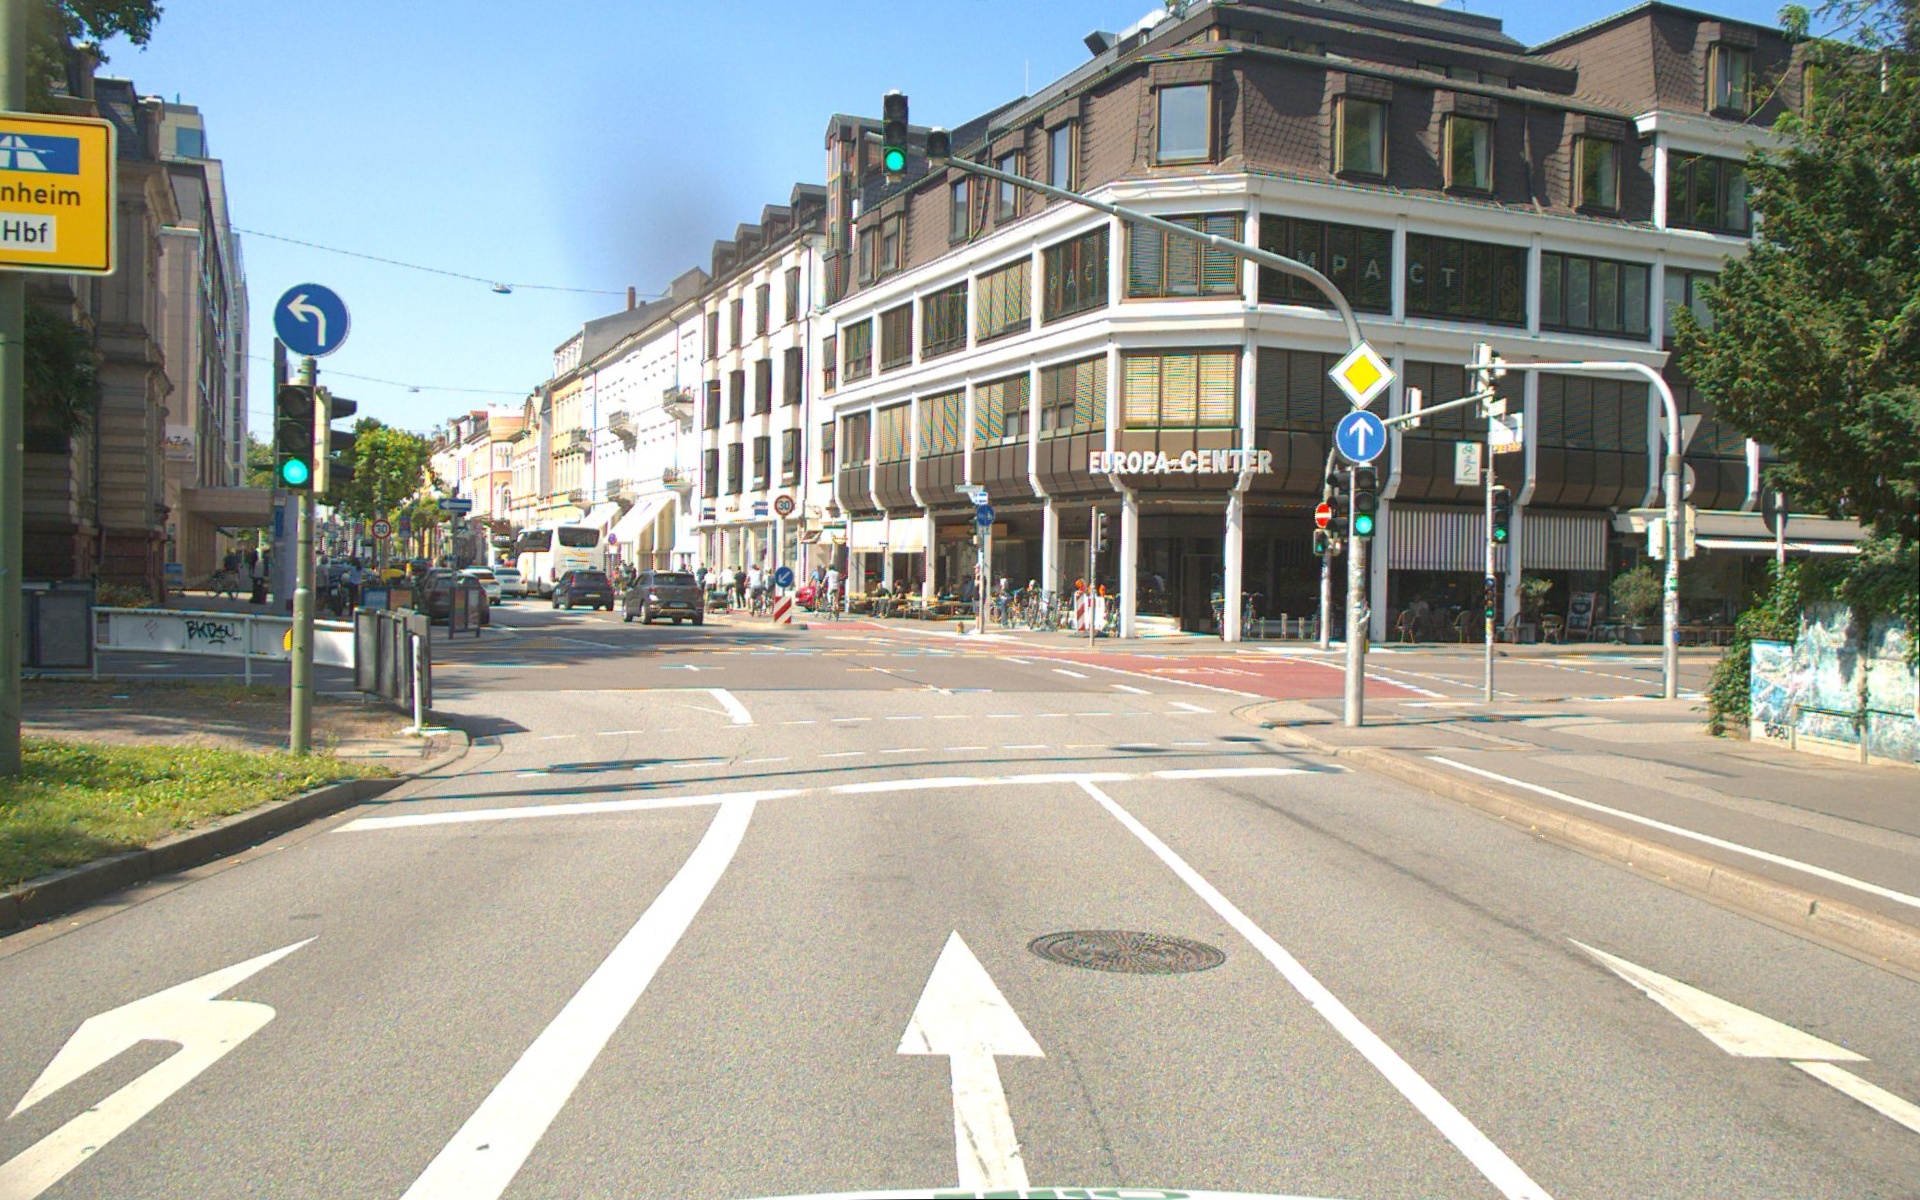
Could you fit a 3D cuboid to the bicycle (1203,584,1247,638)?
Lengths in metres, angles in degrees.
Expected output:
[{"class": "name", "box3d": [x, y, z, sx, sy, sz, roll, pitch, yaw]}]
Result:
[{"class": "bicycle", "box3d": [6.925, 0.263, 43.103, 0.519, 1.339, 1.964, 1, 2, 28]}]

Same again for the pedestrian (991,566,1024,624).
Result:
[{"class": "pedestrian", "box3d": [1.412, -0.149, 49.243, 0.819, 1.692, 0.694, 0, 0, -15]}]

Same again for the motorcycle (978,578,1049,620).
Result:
[{"class": "motorcycle", "box3d": [1.702, -0.037, 52.455, 2.188, 1.313, 0.949, 0, 0, 5]}]

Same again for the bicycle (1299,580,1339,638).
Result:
[{"class": "bicycle", "box3d": [9.496, 0.219, 43.726, 0.519, 1.447, 1.964, 1, 2, 28]}]

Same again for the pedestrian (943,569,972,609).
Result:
[{"class": "pedestrian", "box3d": [-0.099, -0.394, 58.809, 0.803, 1.421, 0.691, 1, 0, -25]}]

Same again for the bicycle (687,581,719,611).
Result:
[{"class": "bicycle", "box3d": [-10.110, -0.172, 65.052, 0.612, 1.118, 2.335, 1, 0, -24]}]

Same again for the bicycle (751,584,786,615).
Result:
[{"class": "bicycle", "box3d": [-7.186, -0.025, 62.073, 0.612, 1.118, 2.335, 1, 0, -24]}]

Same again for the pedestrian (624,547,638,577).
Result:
[{"class": "pedestrian", "box3d": [-18.577, -2.133, 93.418, 0.636, 1.645, 0.817, 0, 0, -20]}]

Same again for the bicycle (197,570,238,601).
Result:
[{"class": "bicycle", "box3d": [-26.531, -0.524, 59.081, 1.988, 1.080, 0.488, 1, 0, 39]}]

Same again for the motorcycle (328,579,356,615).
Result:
[{"class": "motorcycle", "box3d": [-18.078, -0.101, 48.397, 0.446, 1.015, 2.153, 2, 0, -13]}]

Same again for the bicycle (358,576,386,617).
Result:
[{"class": "bicycle", "box3d": [-17.203, -0.084, 48.438, 0.422, 1.140, 2.236, 2, -1, -12]}]

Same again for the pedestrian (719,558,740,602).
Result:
[{"class": "pedestrian", "box3d": [-9.231, -0.803, 66.093, 0.611, 1.750, 0.830, 2, -1, -22]}]

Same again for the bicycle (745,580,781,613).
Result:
[{"class": "bicycle", "box3d": [-7.099, -0.137, 59.565, 0.612, 1.118, 2.335, 1, 0, -24]}]

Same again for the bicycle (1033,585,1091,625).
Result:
[{"class": "bicycle", "box3d": [2.976, 0.148, 48.222, 1.689, 1.140, 0.276, -1, 1, -17]}]

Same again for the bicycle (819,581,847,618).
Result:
[{"class": "bicycle", "box3d": [-4.161, -0.021, 53.980, 0.584, 1.140, 1.794, 1, 1, -15]}]

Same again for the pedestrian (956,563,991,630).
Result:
[{"class": "pedestrian", "box3d": [0.373, -0.101, 46.177, 0.819, 1.868, 0.694, 0, 0, -15]}]

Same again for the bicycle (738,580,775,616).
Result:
[{"class": "bicycle", "box3d": [-7.005, -0.070, 56.919, 0.655, 1.140, 2.228, 3, 1, -22]}]

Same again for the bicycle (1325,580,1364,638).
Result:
[{"class": "bicycle", "box3d": [10.201, 0.219, 43.815, 0.519, 1.447, 1.964, 1, 2, 28]}]

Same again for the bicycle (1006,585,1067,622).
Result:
[{"class": "bicycle", "box3d": [2.359, 0.112, 50.744, 2.219, 1.116, 0.274, 0, 1, -37]}]

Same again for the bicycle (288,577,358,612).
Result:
[{"class": "bicycle", "box3d": [-22.375, -0.177, 58.125, 2.216, 1.140, 0.550, 3, -1, -35]}]

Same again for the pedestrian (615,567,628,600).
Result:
[{"class": "pedestrian", "box3d": [-18.878, -0.914, 92.245, 0.565, 1.809, 1.014, 0, -1, -20]}]

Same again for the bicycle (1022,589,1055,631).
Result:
[{"class": "bicycle", "box3d": [2.222, 0.266, 47.060, 0.272, 1.140, 2.234, 1, 1, -15]}]

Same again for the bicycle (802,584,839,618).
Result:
[{"class": "bicycle", "box3d": [-4.807, 0.010, 56.978, 0.611, 1.118, 2.337, 1, 0, -22]}]

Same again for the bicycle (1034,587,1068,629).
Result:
[{"class": "bicycle", "box3d": [2.593, 0.219, 47.204, 0.272, 1.140, 2.234, 1, 1, -15]}]

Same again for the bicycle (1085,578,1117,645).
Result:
[{"class": "bicycle", "box3d": [3.819, 0.315, 44.697, 0.368, 1.069, 1.491, 0, 41, 21]}]

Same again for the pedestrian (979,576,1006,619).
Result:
[{"class": "pedestrian", "box3d": [1.096, -0.079, 56.135, 0.702, 1.421, 0.691, 0, -1, -24]}]

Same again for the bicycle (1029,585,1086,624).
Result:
[{"class": "bicycle", "box3d": [2.863, 0.127, 48.600, 1.689, 1.140, 0.276, -1, 1, -17]}]

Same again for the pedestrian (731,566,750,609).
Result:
[{"class": "pedestrian", "box3d": [-9.113, -0.516, 68.612, 0.611, 1.749, 0.830, 1, 0, -20]}]

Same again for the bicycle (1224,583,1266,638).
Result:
[{"class": "bicycle", "box3d": [7.404, 0.261, 42.908, 0.519, 1.339, 1.857, 1, 2, 28]}]

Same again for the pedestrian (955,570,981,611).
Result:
[{"class": "pedestrian", "box3d": [0.283, -0.319, 58.064, 0.702, 1.421, 0.691, 0, -1, -24]}]

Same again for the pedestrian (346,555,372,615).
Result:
[{"class": "pedestrian", "box3d": [-17.461, -0.424, 48.069, 0.684, 1.725, 0.686, 0, -1, -21]}]

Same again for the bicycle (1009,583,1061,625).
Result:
[{"class": "bicycle", "box3d": [2.245, 0.126, 49.301, 1.520, 1.228, 0.276, 1, 1, -17]}]

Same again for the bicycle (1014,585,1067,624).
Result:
[{"class": "bicycle", "box3d": [2.381, 0.130, 48.961, 1.545, 1.140, 0.276, -1, 1, -17]}]
